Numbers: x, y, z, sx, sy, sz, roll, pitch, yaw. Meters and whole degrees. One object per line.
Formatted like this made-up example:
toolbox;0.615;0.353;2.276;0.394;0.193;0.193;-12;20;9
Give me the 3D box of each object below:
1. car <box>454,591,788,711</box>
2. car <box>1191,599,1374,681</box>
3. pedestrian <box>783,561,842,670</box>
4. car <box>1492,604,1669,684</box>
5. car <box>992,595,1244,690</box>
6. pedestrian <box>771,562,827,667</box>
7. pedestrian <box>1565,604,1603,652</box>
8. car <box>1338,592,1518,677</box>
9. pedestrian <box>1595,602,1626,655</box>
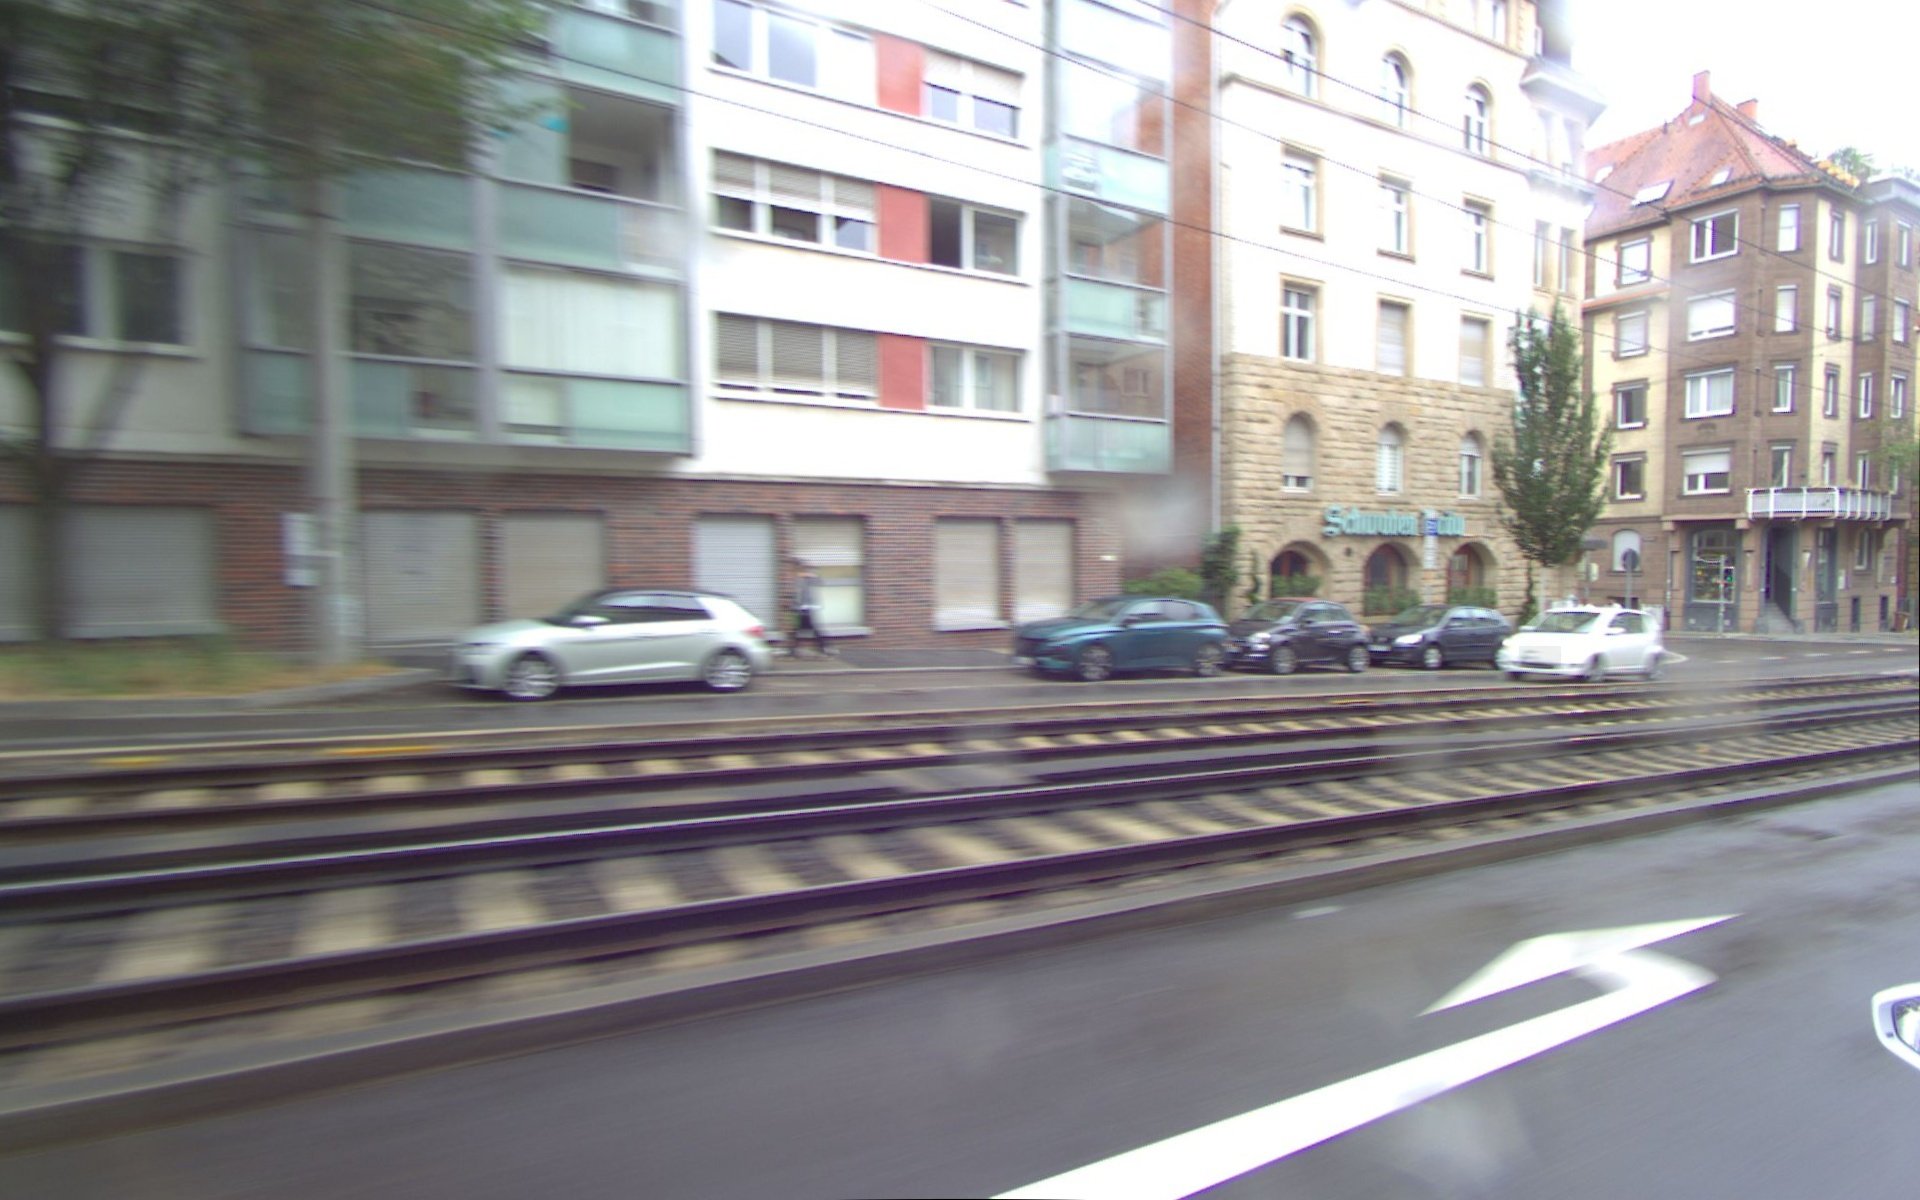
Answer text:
car;-4.592;0.632;13.737;4.082;1.354;1.693;1;3;-31
car;6.628;0.774;20.572;3.489;1.518;1.796;1;1;-34
pedestrian;-2.505;0.255;17.028;0.773;1.796;0.670;1;1;-30
car;12.837;0.863;20.757;3.538;1.502;1.619;1;0;-30
car;2.907;0.685;18.226;4.379;1.474;1.792;0;2;-31
pedestrian;-2.832;0.254;17.643;0.773;1.796;0.670;1;1;-30
pedestrian;19.248;0.864;30.971;0.637;1.441;0.751;1;1;-28
car;10.840;0.754;23.256;3.692;1.751;1.879;1;3;-28
pedestrian;19.660;0.863;30.354;0.635;1.591;0.515;1;-1;-27
